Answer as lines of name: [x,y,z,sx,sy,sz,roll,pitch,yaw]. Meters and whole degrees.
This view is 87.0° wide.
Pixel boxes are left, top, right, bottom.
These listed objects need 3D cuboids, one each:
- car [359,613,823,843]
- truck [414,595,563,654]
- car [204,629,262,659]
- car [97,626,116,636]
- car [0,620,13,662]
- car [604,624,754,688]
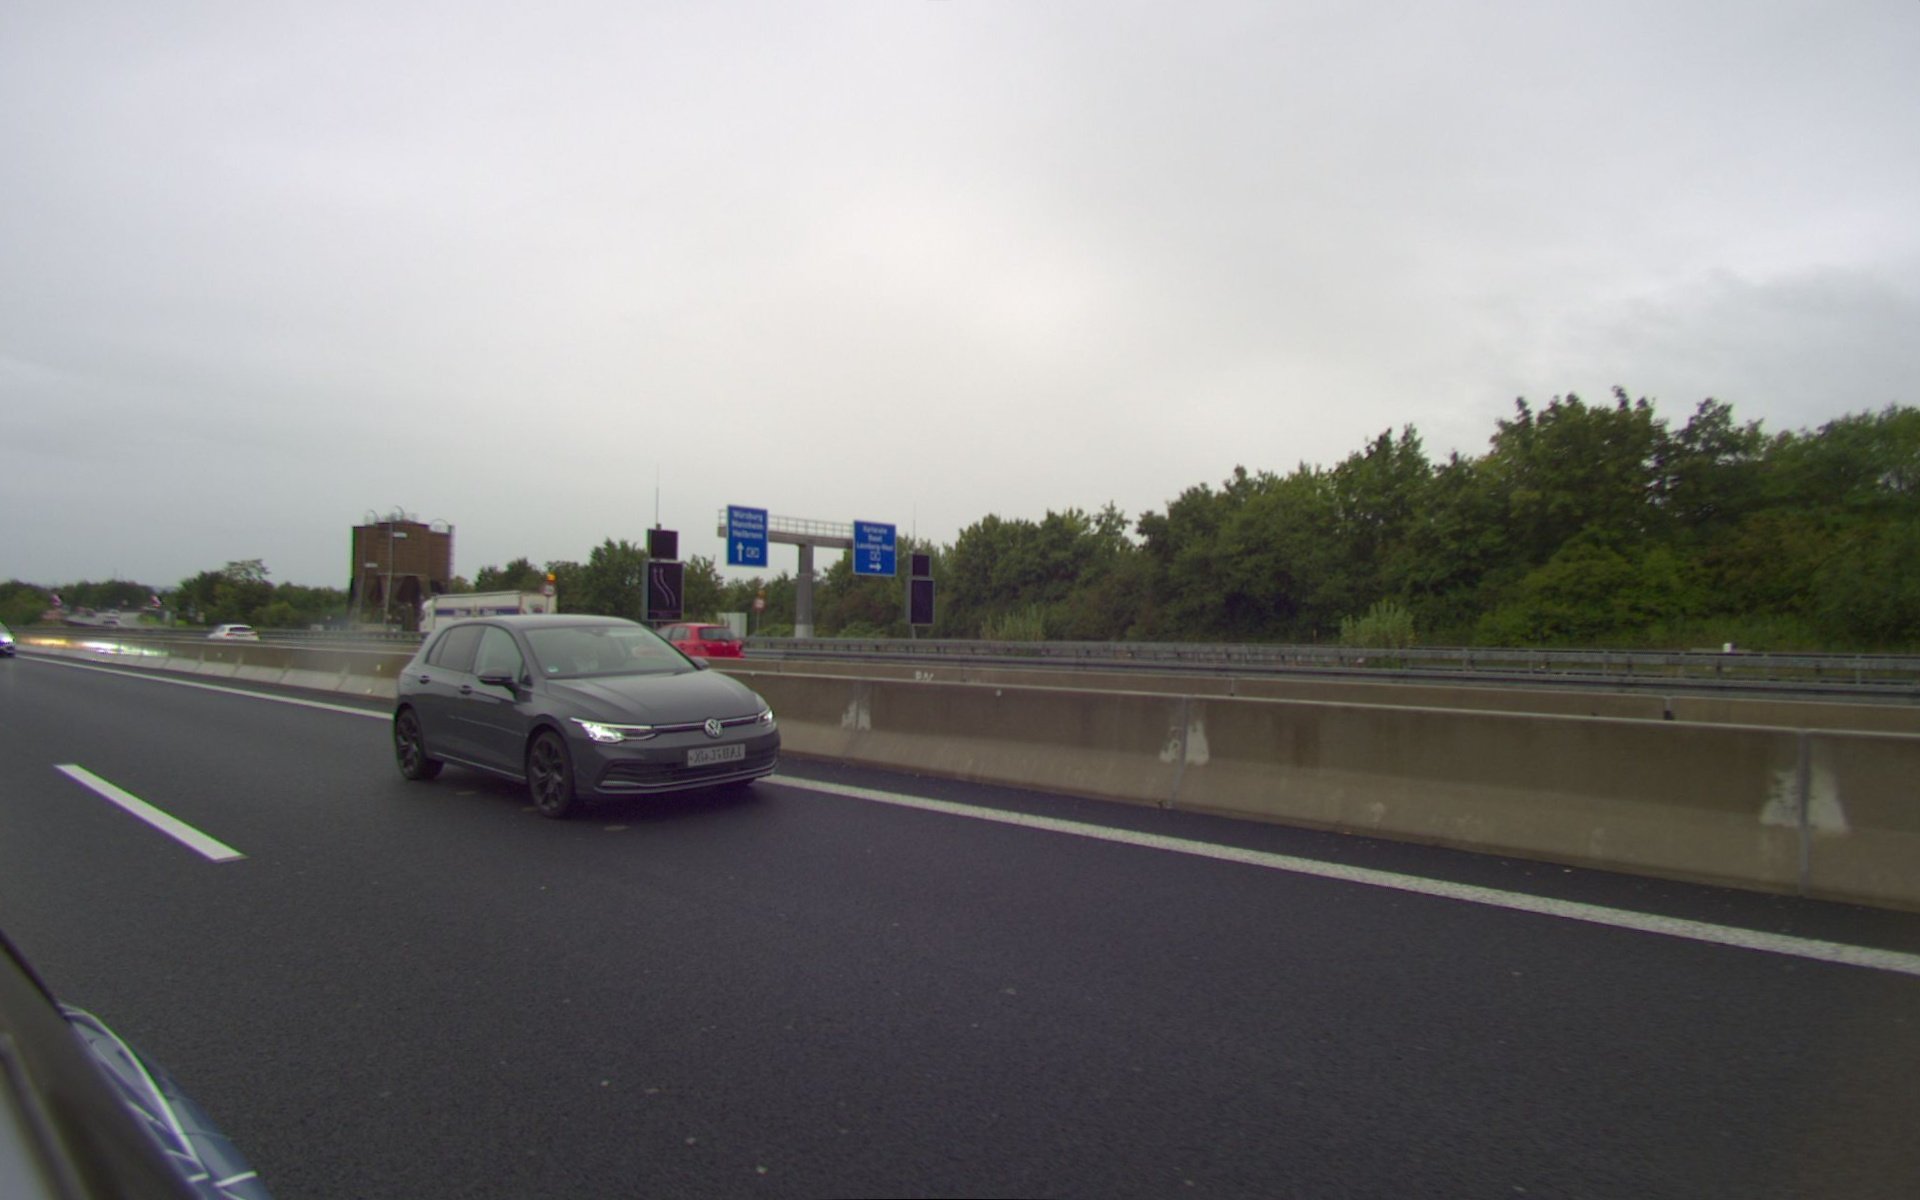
car: [-3.296,0.874,8.554,4.365,1.436,1.811,-2,-1,41]
truck: [-34.037,1.735,72.376,17.129,3.838,3.144,-1,-2,42]
car: [-42.430,2.518,59.023,4.314,1.674,1.972,-1,-2,43]
car: [-153.247,5.484,181.771,4.503,1.775,1.973,-1,-2,41]
car: [-39.116,1.615,40.162,4.817,1.603,1.972,-1,-1,43]
car: [-7.819,1.483,27.948,4.579,1.564,1.706,-1,0,40]
